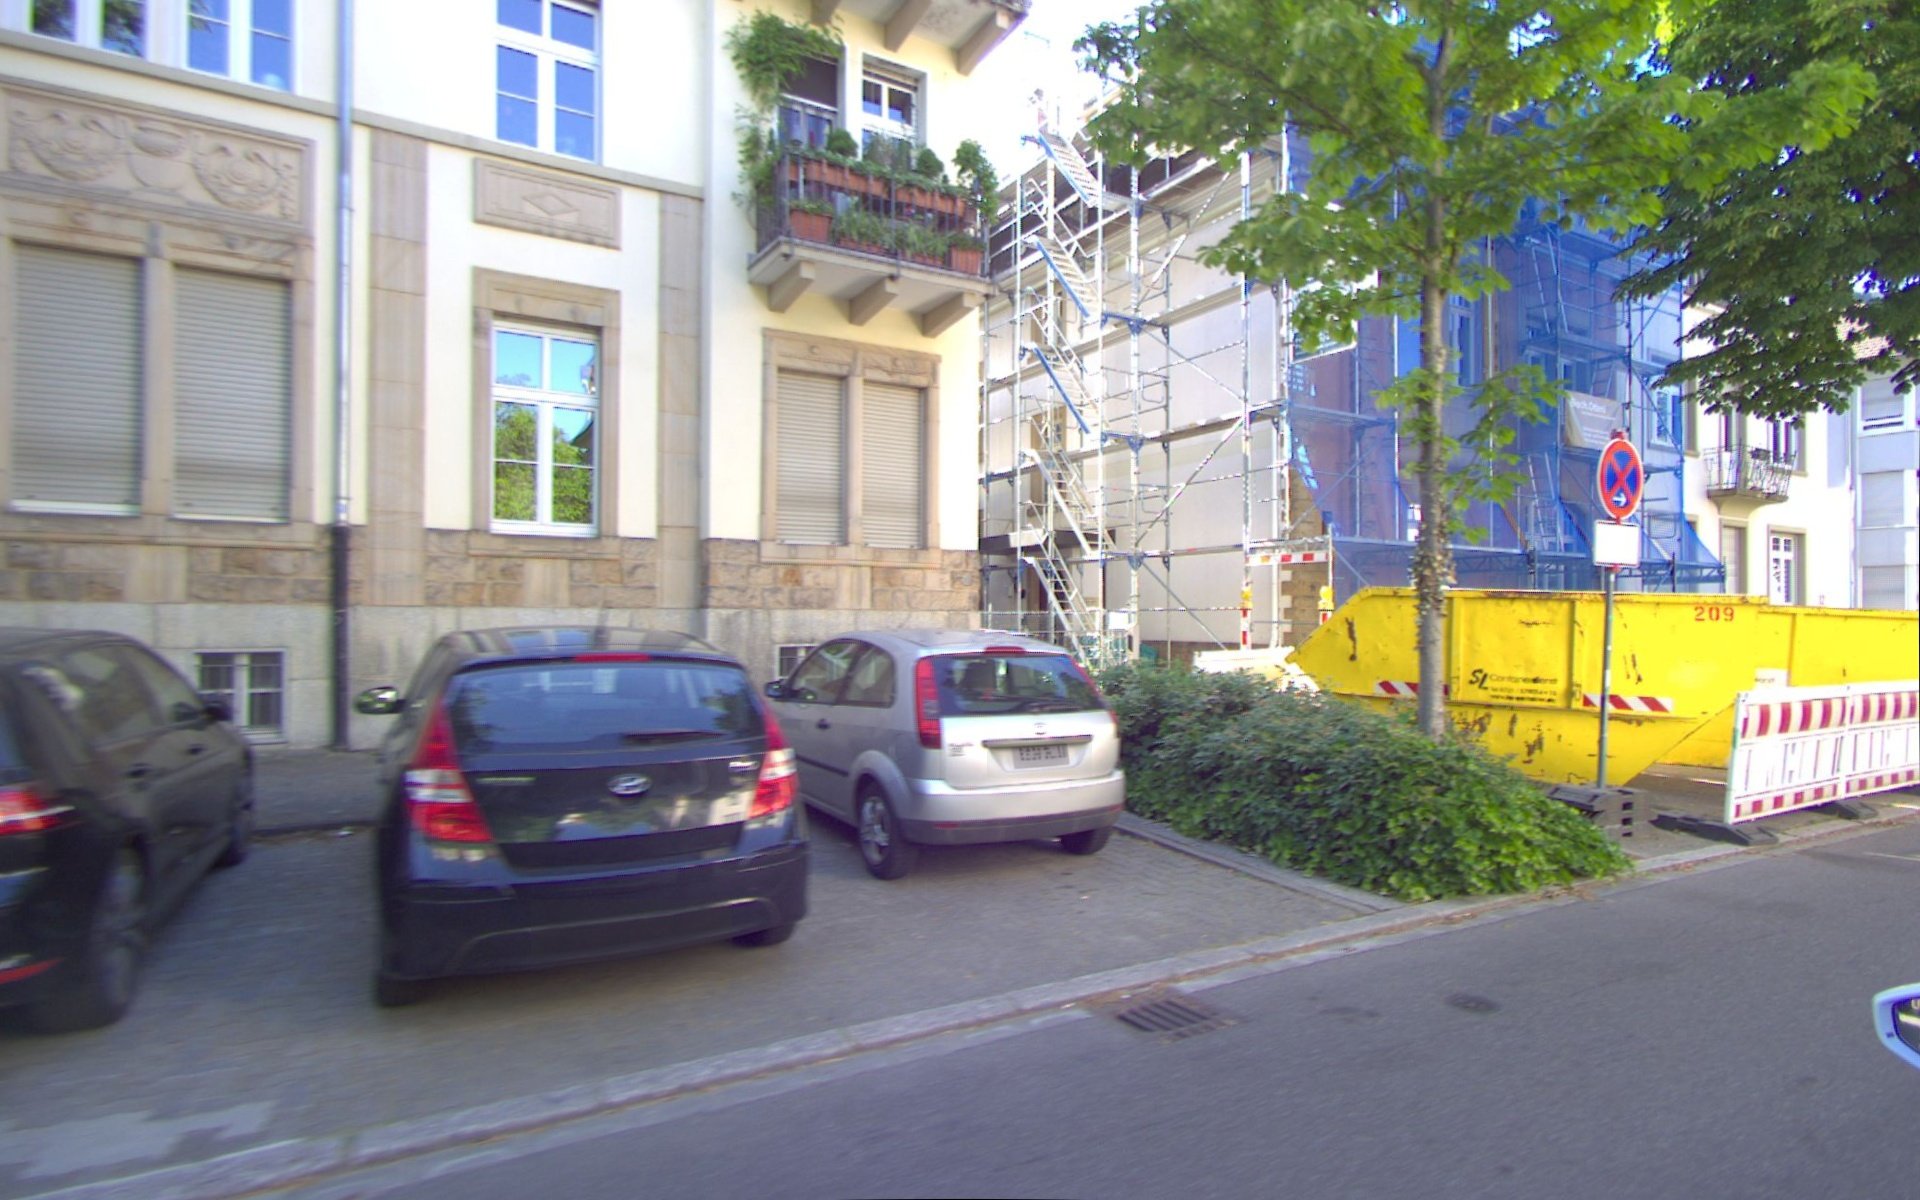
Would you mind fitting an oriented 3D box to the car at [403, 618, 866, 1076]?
[{"bbox_3d":[-2.014,0.865,5.416,1.694,1.484,3.710,0,0,-29],"label":"car"}]

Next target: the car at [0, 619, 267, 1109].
[{"bbox_3d":[-4.262,0.828,4.428,1.627,1.450,3.730,1,-1,-29],"label":"car"}]

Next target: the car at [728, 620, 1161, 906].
[{"bbox_3d":[-0.354,0.906,7.267,1.675,1.467,3.534,1,-1,-29],"label":"car"}]
